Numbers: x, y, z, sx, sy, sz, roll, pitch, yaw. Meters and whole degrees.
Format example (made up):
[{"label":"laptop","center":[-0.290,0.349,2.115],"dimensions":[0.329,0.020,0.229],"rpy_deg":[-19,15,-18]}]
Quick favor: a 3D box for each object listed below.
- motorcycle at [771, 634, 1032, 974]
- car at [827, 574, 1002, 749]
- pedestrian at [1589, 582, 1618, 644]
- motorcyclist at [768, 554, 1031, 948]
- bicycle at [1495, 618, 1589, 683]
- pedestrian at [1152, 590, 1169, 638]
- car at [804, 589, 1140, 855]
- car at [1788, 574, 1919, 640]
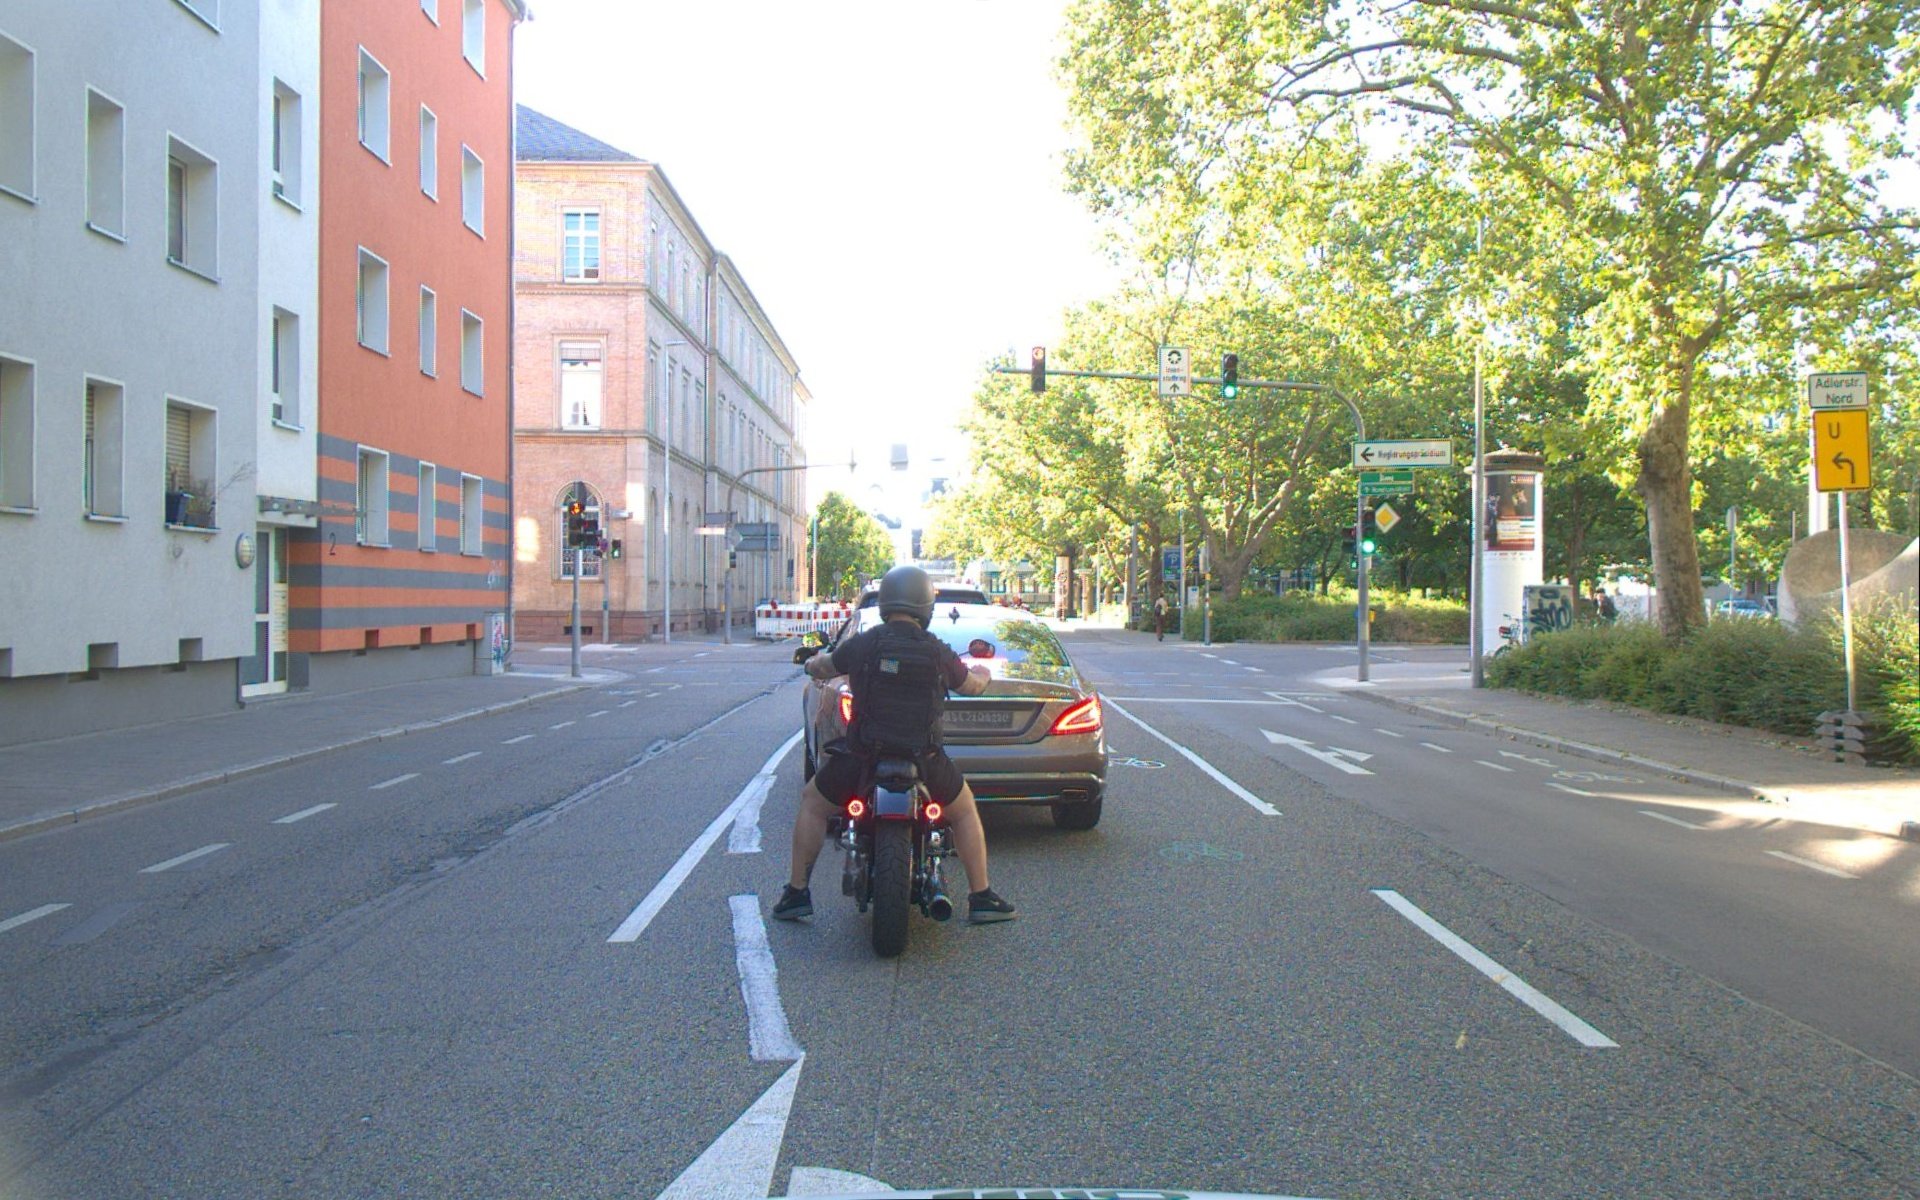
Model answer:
[{"label":"motorcycle","center":[-0.241,0.808,7.641],"dimensions":[0.987,1.225,2.664],"rpy_deg":[0,0,-1]},{"label":"car","center":[-0.495,0.581,17.576],"dimensions":[1.647,1.653,3.839],"rpy_deg":[0,0,-2]},{"label":"pedestrian","center":[18.794,0.377,48.337],"dimensions":[0.607,1.815,0.630],"rpy_deg":[0,0,1]},{"label":"motorcyclist","center":[-0.259,0.630,7.502],"dimensions":[1.090,1.641,1.202],"rpy_deg":[0,0,-1]},{"label":"bicycle","center":[9.700,0.837,27.587],"dimensions":[1.387,1.055,0.538],"rpy_deg":[0,0,-5]},{"label":"pedestrian","center":[7.247,0.506,59.874],"dimensions":[0.548,1.707,0.564],"rpy_deg":[0,0,-1]},{"label":"car","center":[-0.124,0.688,11.617],"dimensions":[1.787,1.502,4.346],"rpy_deg":[0,0,-7]},{"label":"car","center":[25.763,0.196,46.557],"dimensions":[3.912,1.815,2.001],"rpy_deg":[0,0,4]}]
